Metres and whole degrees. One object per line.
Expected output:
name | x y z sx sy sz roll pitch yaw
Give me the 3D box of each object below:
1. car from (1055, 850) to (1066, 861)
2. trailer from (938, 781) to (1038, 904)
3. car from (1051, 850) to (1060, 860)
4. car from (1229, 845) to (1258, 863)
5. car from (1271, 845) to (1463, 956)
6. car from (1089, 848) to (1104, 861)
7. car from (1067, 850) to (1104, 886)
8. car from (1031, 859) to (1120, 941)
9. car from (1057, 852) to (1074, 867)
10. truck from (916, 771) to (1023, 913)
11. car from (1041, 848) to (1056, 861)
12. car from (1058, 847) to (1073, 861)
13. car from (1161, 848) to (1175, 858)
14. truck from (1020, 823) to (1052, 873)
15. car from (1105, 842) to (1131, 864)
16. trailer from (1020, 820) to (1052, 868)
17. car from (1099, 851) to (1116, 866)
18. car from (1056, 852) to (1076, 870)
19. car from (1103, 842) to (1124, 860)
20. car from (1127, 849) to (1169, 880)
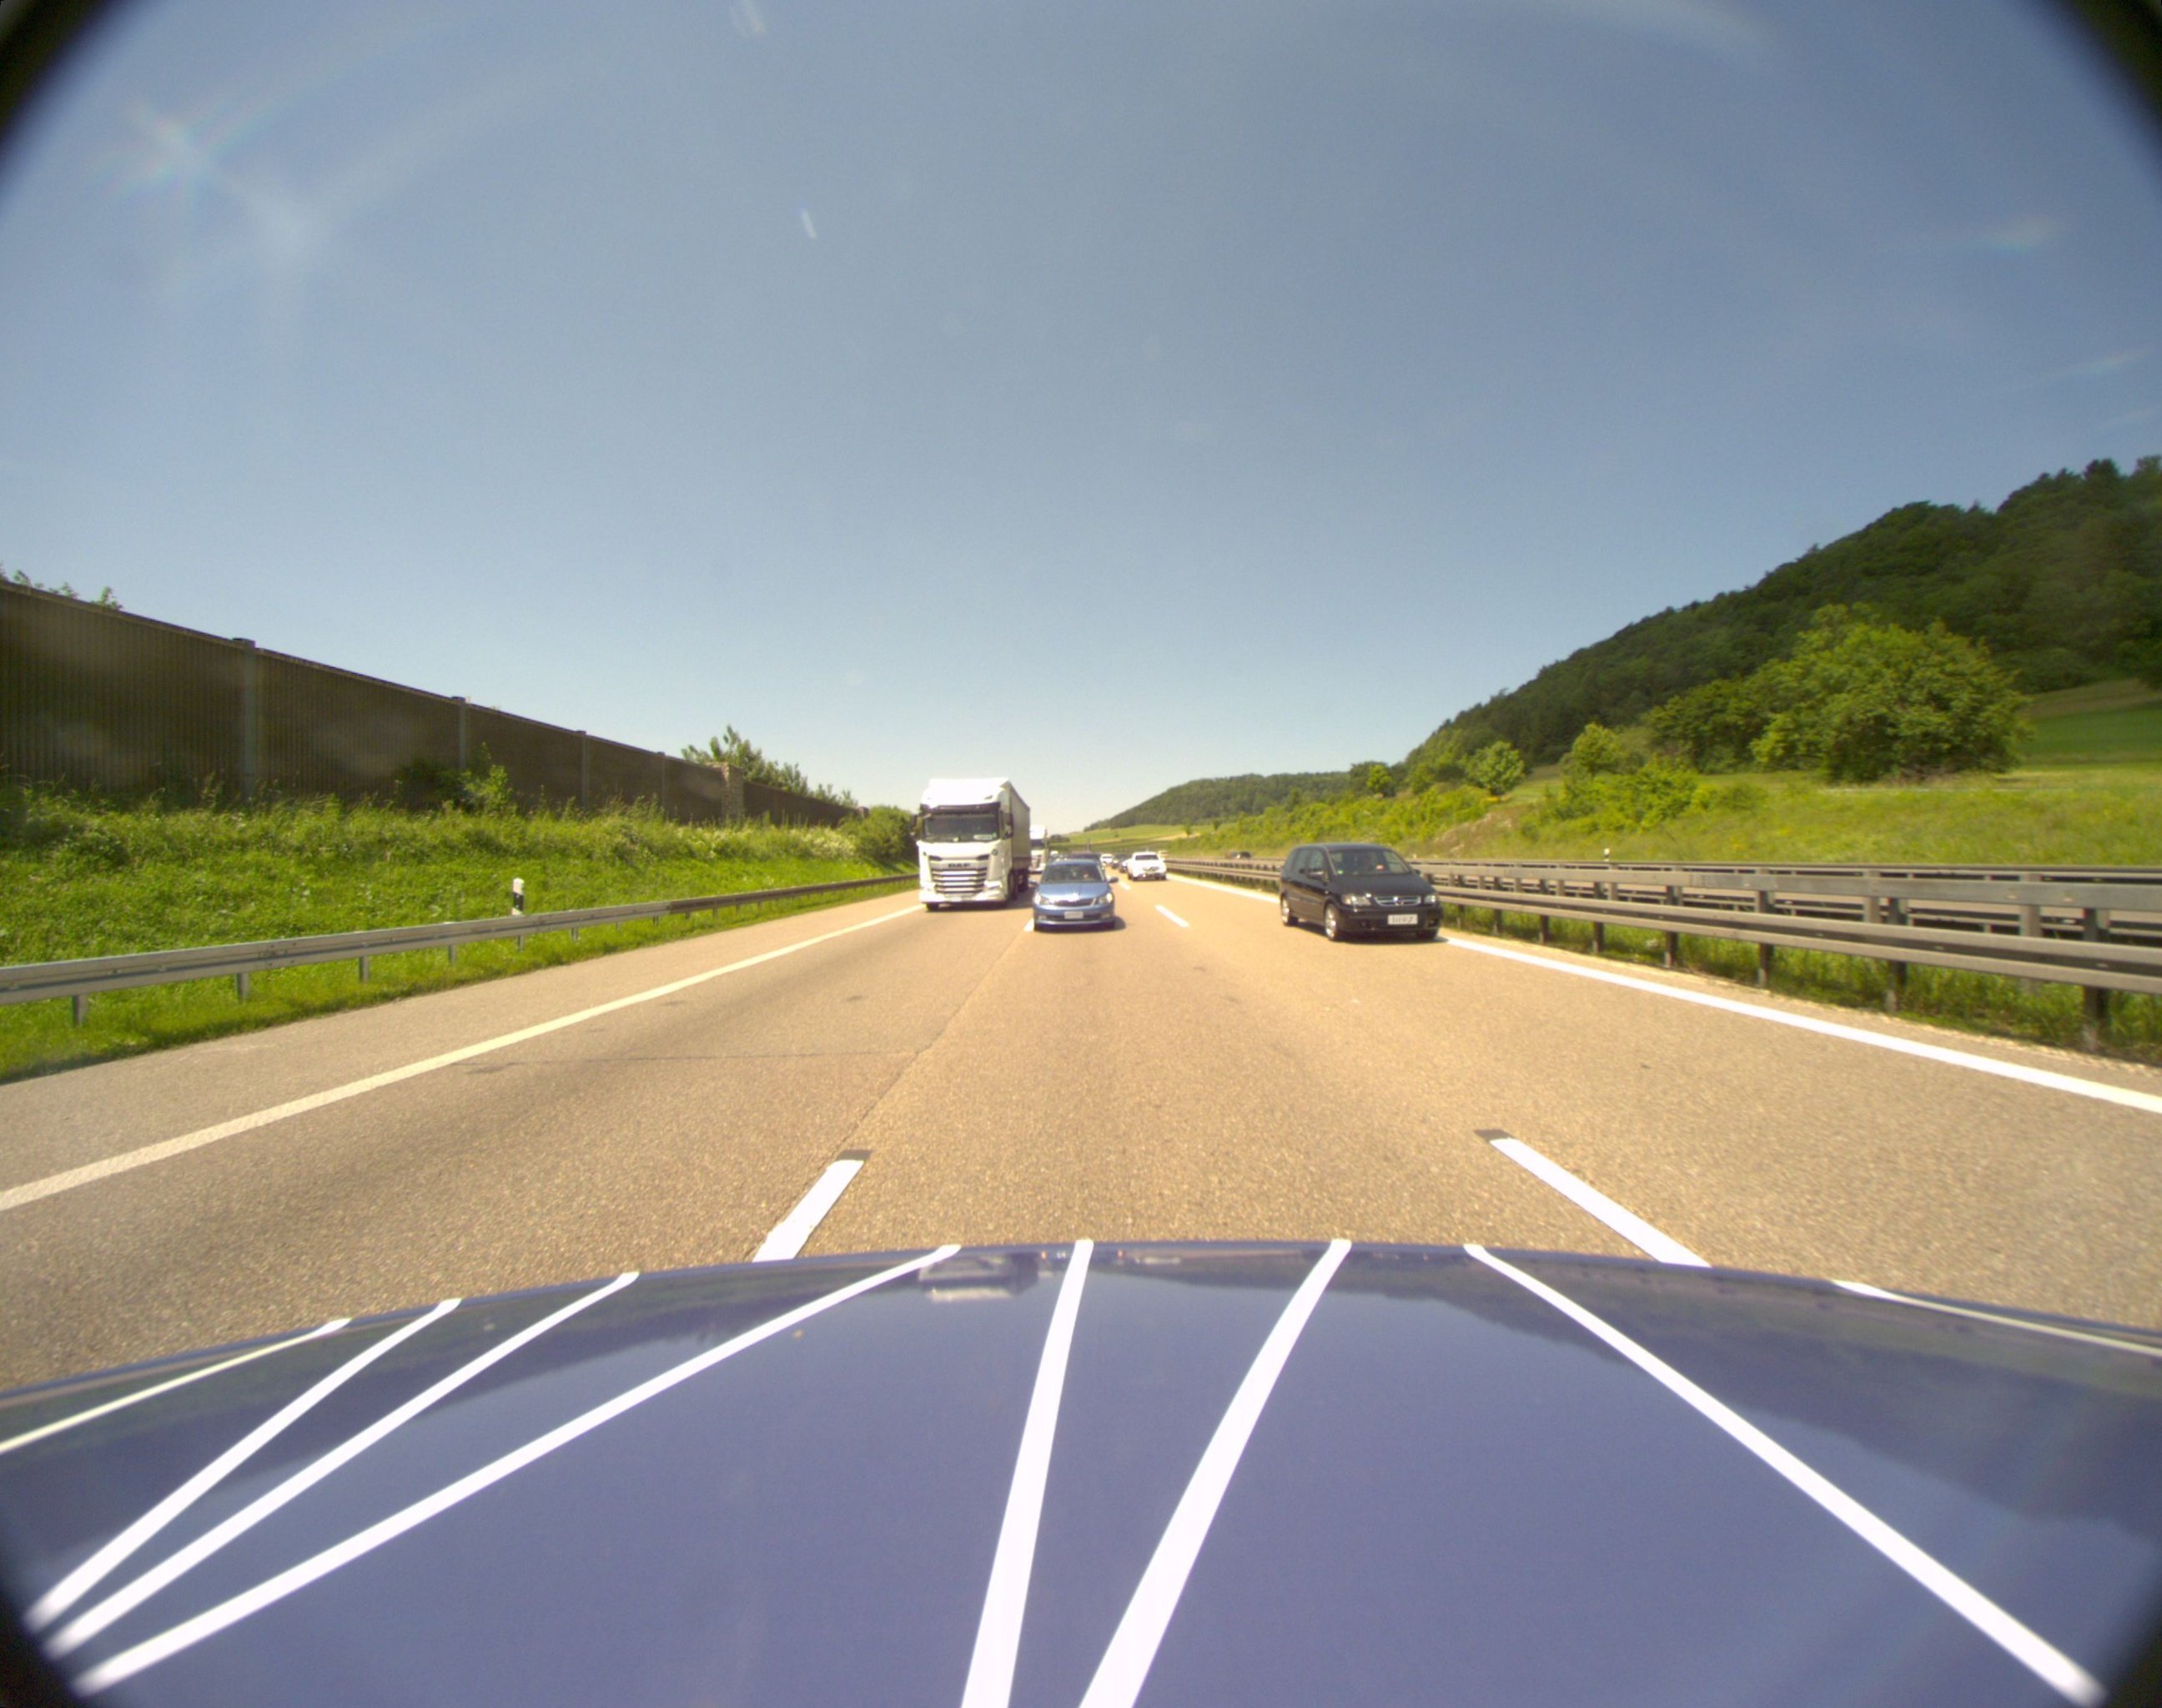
car | -3.841 0.259 144.887 1.999 2.002 3.999 -2 1 -2
trailer | -3.407 -0.421 31.618 2.484 3.954 13.653 -1 0 0
car | -5.891 0.197 175.161 1.999 2.002 3.999 -2 1 -2
car | 15.341 -0.032 72.057 1.854 1.600 4.078 -1 0 0
car | 4.836 0.678 13.593 1.805 1.625 4.446 -1 0 1
car | 2.167 0.028 104.236 1.998 1.702 4.000 -2 1 2
car | 0.246 0.653 38.665 1.737 1.674 4.197 -1 0 1
car | -0.158 0.888 16.776 1.660 1.481 4.652 -1 0 -1
car | -1.974 0.646 96.674 1.999 1.702 3.999 -2 1 -2
truck | -3.381 -0.350 24.678 2.484 3.954 6.380 -1 1 0
car | -4.498 0.087 105.721 1.999 1.702 3.999 -2 1 -2
car | -2.210 -0.007 105.802 1.999 1.702 3.999 -2 1 -2
car | 16.572 -0.166 145.471 2.065 1.930 4.660 -2 0 0
truck | -3.909 -0.562 66.065 2.532 4.065 6.077 -2 1 -3
car | 2.949 -0.109 61.687 1.998 1.692 4.000 -2 1 2
trailer | -4.233 -0.936 72.352 2.544 4.085 13.622 -2 1 -3
car | 3.228 0.527 94.106 1.998 1.702 4.000 -2 1 2
car | -1.543 0.688 77.383 1.999 1.702 3.999 -2 1 -2
car | 3.308 -0.310 76.769 1.998 1.702 4.000 -2 1 2
car | 3.740 0.559 43.004 1.998 1.612 3.999 -2 1 0
